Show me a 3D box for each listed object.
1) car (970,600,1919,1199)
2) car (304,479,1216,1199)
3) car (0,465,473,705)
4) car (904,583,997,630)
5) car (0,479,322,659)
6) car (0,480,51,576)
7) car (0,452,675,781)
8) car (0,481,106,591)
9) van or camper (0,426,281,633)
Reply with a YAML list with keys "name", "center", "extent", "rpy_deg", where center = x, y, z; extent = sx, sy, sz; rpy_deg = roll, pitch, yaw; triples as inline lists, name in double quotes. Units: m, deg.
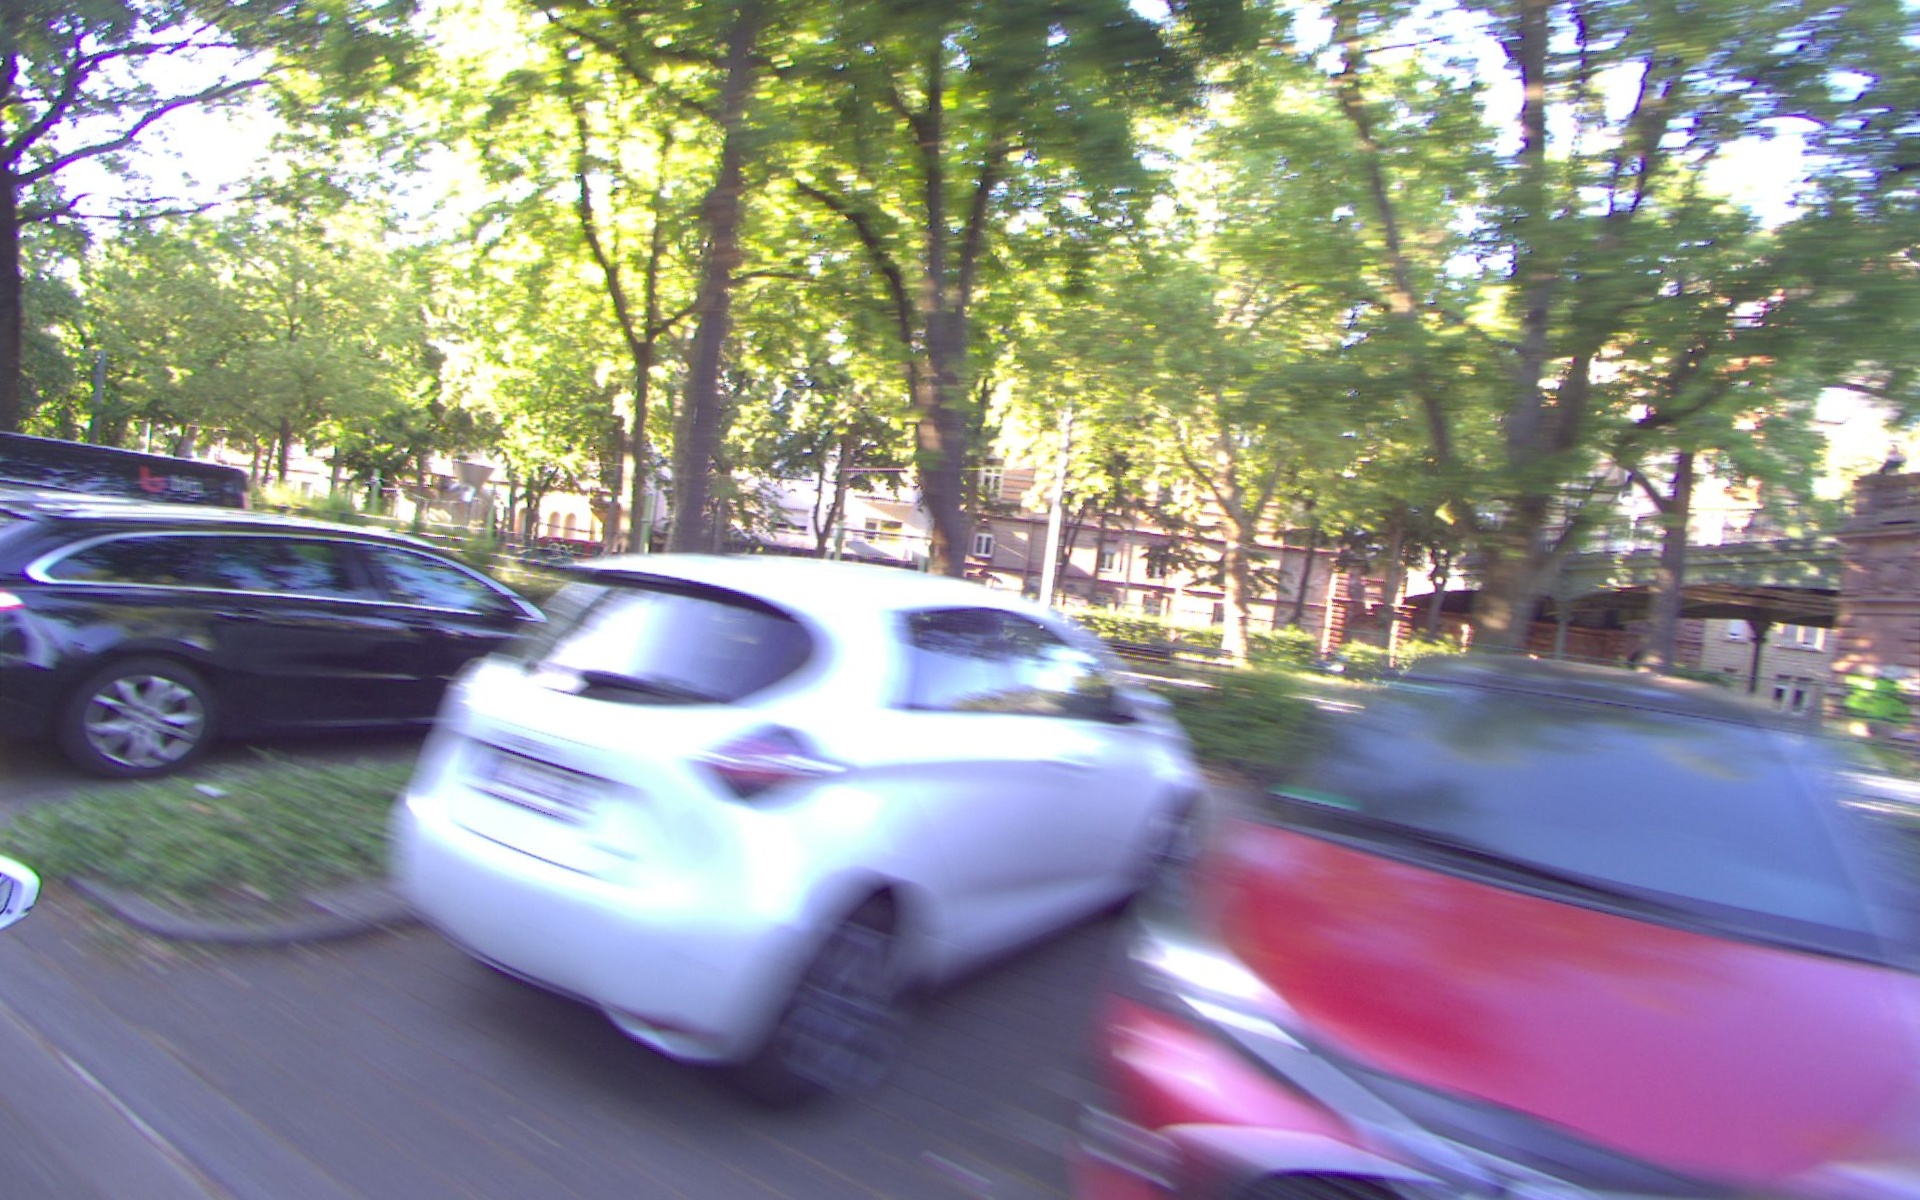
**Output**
- name: "car"
  center: [1.768, 0.920, 3.174]
  extent: [1.638, 1.492, 3.784]
  rpy_deg: [5, 0, 33]
- name: "car"
  center: [-0.337, 0.622, 4.361]
  extent: [1.637, 1.666, 3.785]
  rpy_deg: [5, 0, 32]
- name: "car"
  center: [-6.495, -0.095, 8.029]
  extent: [1.638, 1.597, 4.401]
  rpy_deg: [5, 0, 33]
- name: "car"
  center: [-0.508, 0.373, 55.559]
  extent: [4.648, 2.037, 2.002]
  rpy_deg: [6, -1, 11]
- name: "car"
  center: [-8.744, -0.312, 9.308]
  extent: [1.806, 1.519, 4.406]
  rpy_deg: [5, 0, 28]
- name: "car"
  center: [-16.661, -1.322, 14.893]
  extent: [1.808, 1.458, 4.401]
  rpy_deg: [6, 0, 33]
- name: "car"
  center: [-4.282, 0.141, 6.773]
  extent: [1.639, 1.597, 4.398]
  rpy_deg: [5, 0, 36]
- name: "car"
  center: [-14.698, -1.073, 13.604]
  extent: [1.807, 1.458, 4.405]
  rpy_deg: [6, 0, 30]
- name: "van or camper"
  center: [-10.851, -0.886, 10.832]
  extent: [1.996, 2.053, 5.416]
  rpy_deg: [8, 1, 33]
